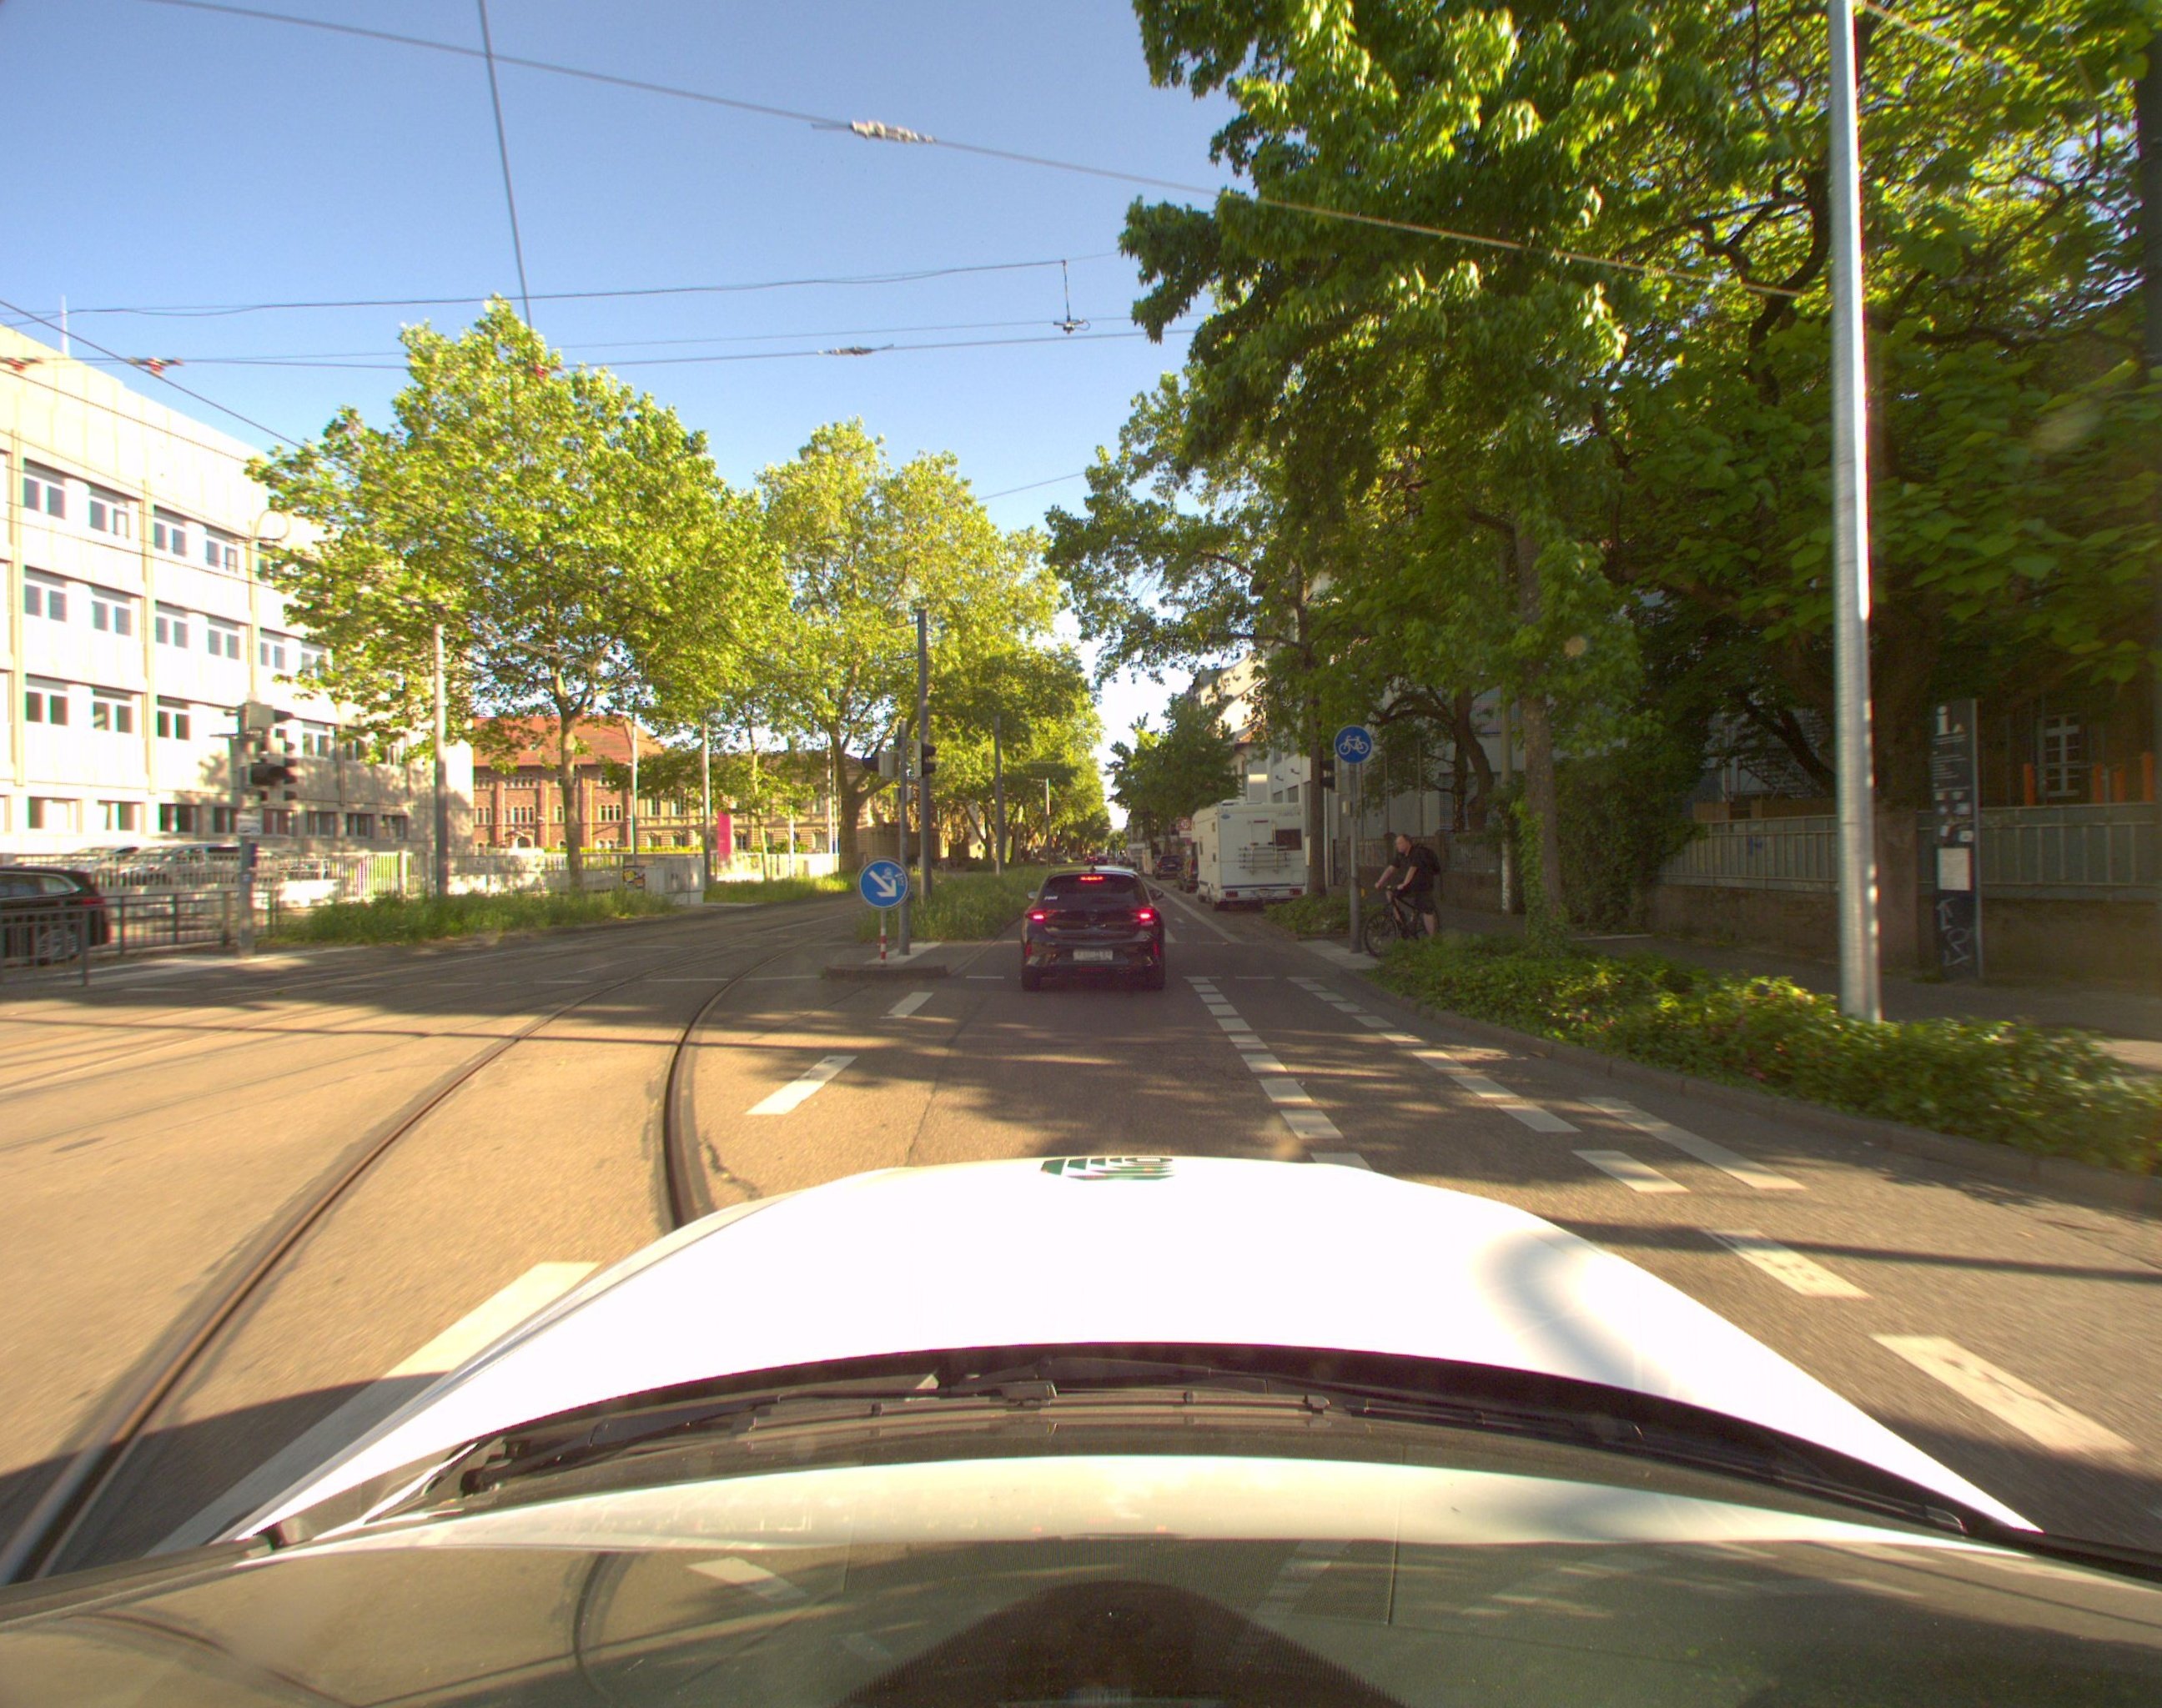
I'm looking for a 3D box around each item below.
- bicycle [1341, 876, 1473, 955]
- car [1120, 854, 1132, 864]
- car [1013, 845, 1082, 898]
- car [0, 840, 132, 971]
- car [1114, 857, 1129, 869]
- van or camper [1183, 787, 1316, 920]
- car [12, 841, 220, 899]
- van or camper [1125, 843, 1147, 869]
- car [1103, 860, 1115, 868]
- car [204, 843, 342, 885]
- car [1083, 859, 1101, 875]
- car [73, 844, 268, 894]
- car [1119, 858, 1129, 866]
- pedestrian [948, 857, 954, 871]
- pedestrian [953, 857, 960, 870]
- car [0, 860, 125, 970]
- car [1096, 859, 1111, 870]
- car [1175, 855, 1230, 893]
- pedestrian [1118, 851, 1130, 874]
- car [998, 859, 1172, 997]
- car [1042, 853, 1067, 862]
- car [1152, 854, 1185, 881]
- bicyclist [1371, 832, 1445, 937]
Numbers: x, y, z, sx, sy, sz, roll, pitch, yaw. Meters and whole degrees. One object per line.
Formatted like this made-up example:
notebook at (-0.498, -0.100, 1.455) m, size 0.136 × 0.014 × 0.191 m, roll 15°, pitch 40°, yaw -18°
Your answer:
bicycle at (4.913, 0.894, 12.252) m, size 1.952 × 1.070 × 0.636 m, roll -1°, pitch 0°, yaw -23°
car at (7.283, 0.818, 131.550) m, size 1.897 × 1.425 × 4.219 m, roll 0°, pitch 1°, yaw 3°
car at (-1.063, 0.525, 28.085) m, size 1.986 × 1.627 × 4.472 m, roll 2°, pitch 0°, yaw 2°
car at (-17.204, 0.784, 11.557) m, size 1.982 × 1.947 × 4.436 m, roll 0°, pitch 1°, yaw 9°
car at (5.591, 1.216, 111.841) m, size 1.897 × 1.425 × 4.219 m, roll 0°, pitch 1°, yaw 3°
van or camper at (4.631, -0.041, 23.870) m, size 2.367 × 3.125 × 7.554 m, roll -3°, pitch 0°, yaw 2°
car at (-36.349, 0.534, 30.923) m, size 1.983 × 2.013 × 4.735 m, roll -1°, pitch 1°, yaw 7°
van or camper at (6.541, 0.225, 97.409) m, size 2.476 × 2.993 × 5.439 m, roll 1°, pitch 0°, yaw 3°
car at (4.836, 1.726, 141.313) m, size 1.897 × 1.425 × 4.219 m, roll 0°, pitch 1°, yaw 3°
car at (-40.771, 0.484, 41.179) m, size 4.730 × 2.013 × 1.997 m, roll -1°, pitch 0°, yaw -4°
car at (1.185, 1.408, 89.259) m, size 1.783 × 1.510 × 3.877 m, roll -2°, pitch 0°, yaw 3°
car at (-33.398, 0.489, 30.090) m, size 1.983 × 1.703 × 4.387 m, roll -1°, pitch 1°, yaw 7°
car at (8.206, 1.541, 154.681) m, size 1.897 × 1.425 × 4.219 m, roll 0°, pitch 1°, yaw 3°
pedestrian at (-16.357, 1.230, 102.333) m, size 0.616 × 1.733 × 0.596 m, roll 2°, pitch 0°, yaw 1°
pedestrian at (-15.693, 1.204, 102.496) m, size 0.656 × 1.622 × 0.616 m, roll 2°, pitch 0°, yaw 1°
car at (-17.145, 0.943, 11.309) m, size 1.986 × 1.616 × 4.758 m, roll -1°, pitch 1°, yaw 2°
car at (2.993, 1.393, 107.654) m, size 1.897 × 1.425 × 4.219 m, roll 0°, pitch 1°, yaw 3°
car at (4.982, 0.798, 33.930) m, size 1.680 × 1.420 × 4.048 m, roll -1°, pitch 0°, yaw 0°
pedestrian at (3.822, 0.785, 72.636) m, size 1.032 × 2.024 × 1.213 m, roll 0°, pitch 0°, yaw 1°
car at (0.172, 0.829, 10.997) m, size 1.897 × 1.425 × 4.219 m, roll 0°, pitch 1°, yaw 3°
car at (-6.218, 0.820, 193.477) m, size 5.665 × 2.197 × 2.290 m, roll -1°, pitch 0°, yaw 2°
car at (5.452, 0.802, 50.837) m, size 1.783 × 1.510 × 3.877 m, roll -2°, pitch 0°, yaw 3°
bicyclist at (4.912, 0.438, 12.251) m, size 0.702 × 1.510 × 0.746 m, roll -1°, pitch 0°, yaw -22°
